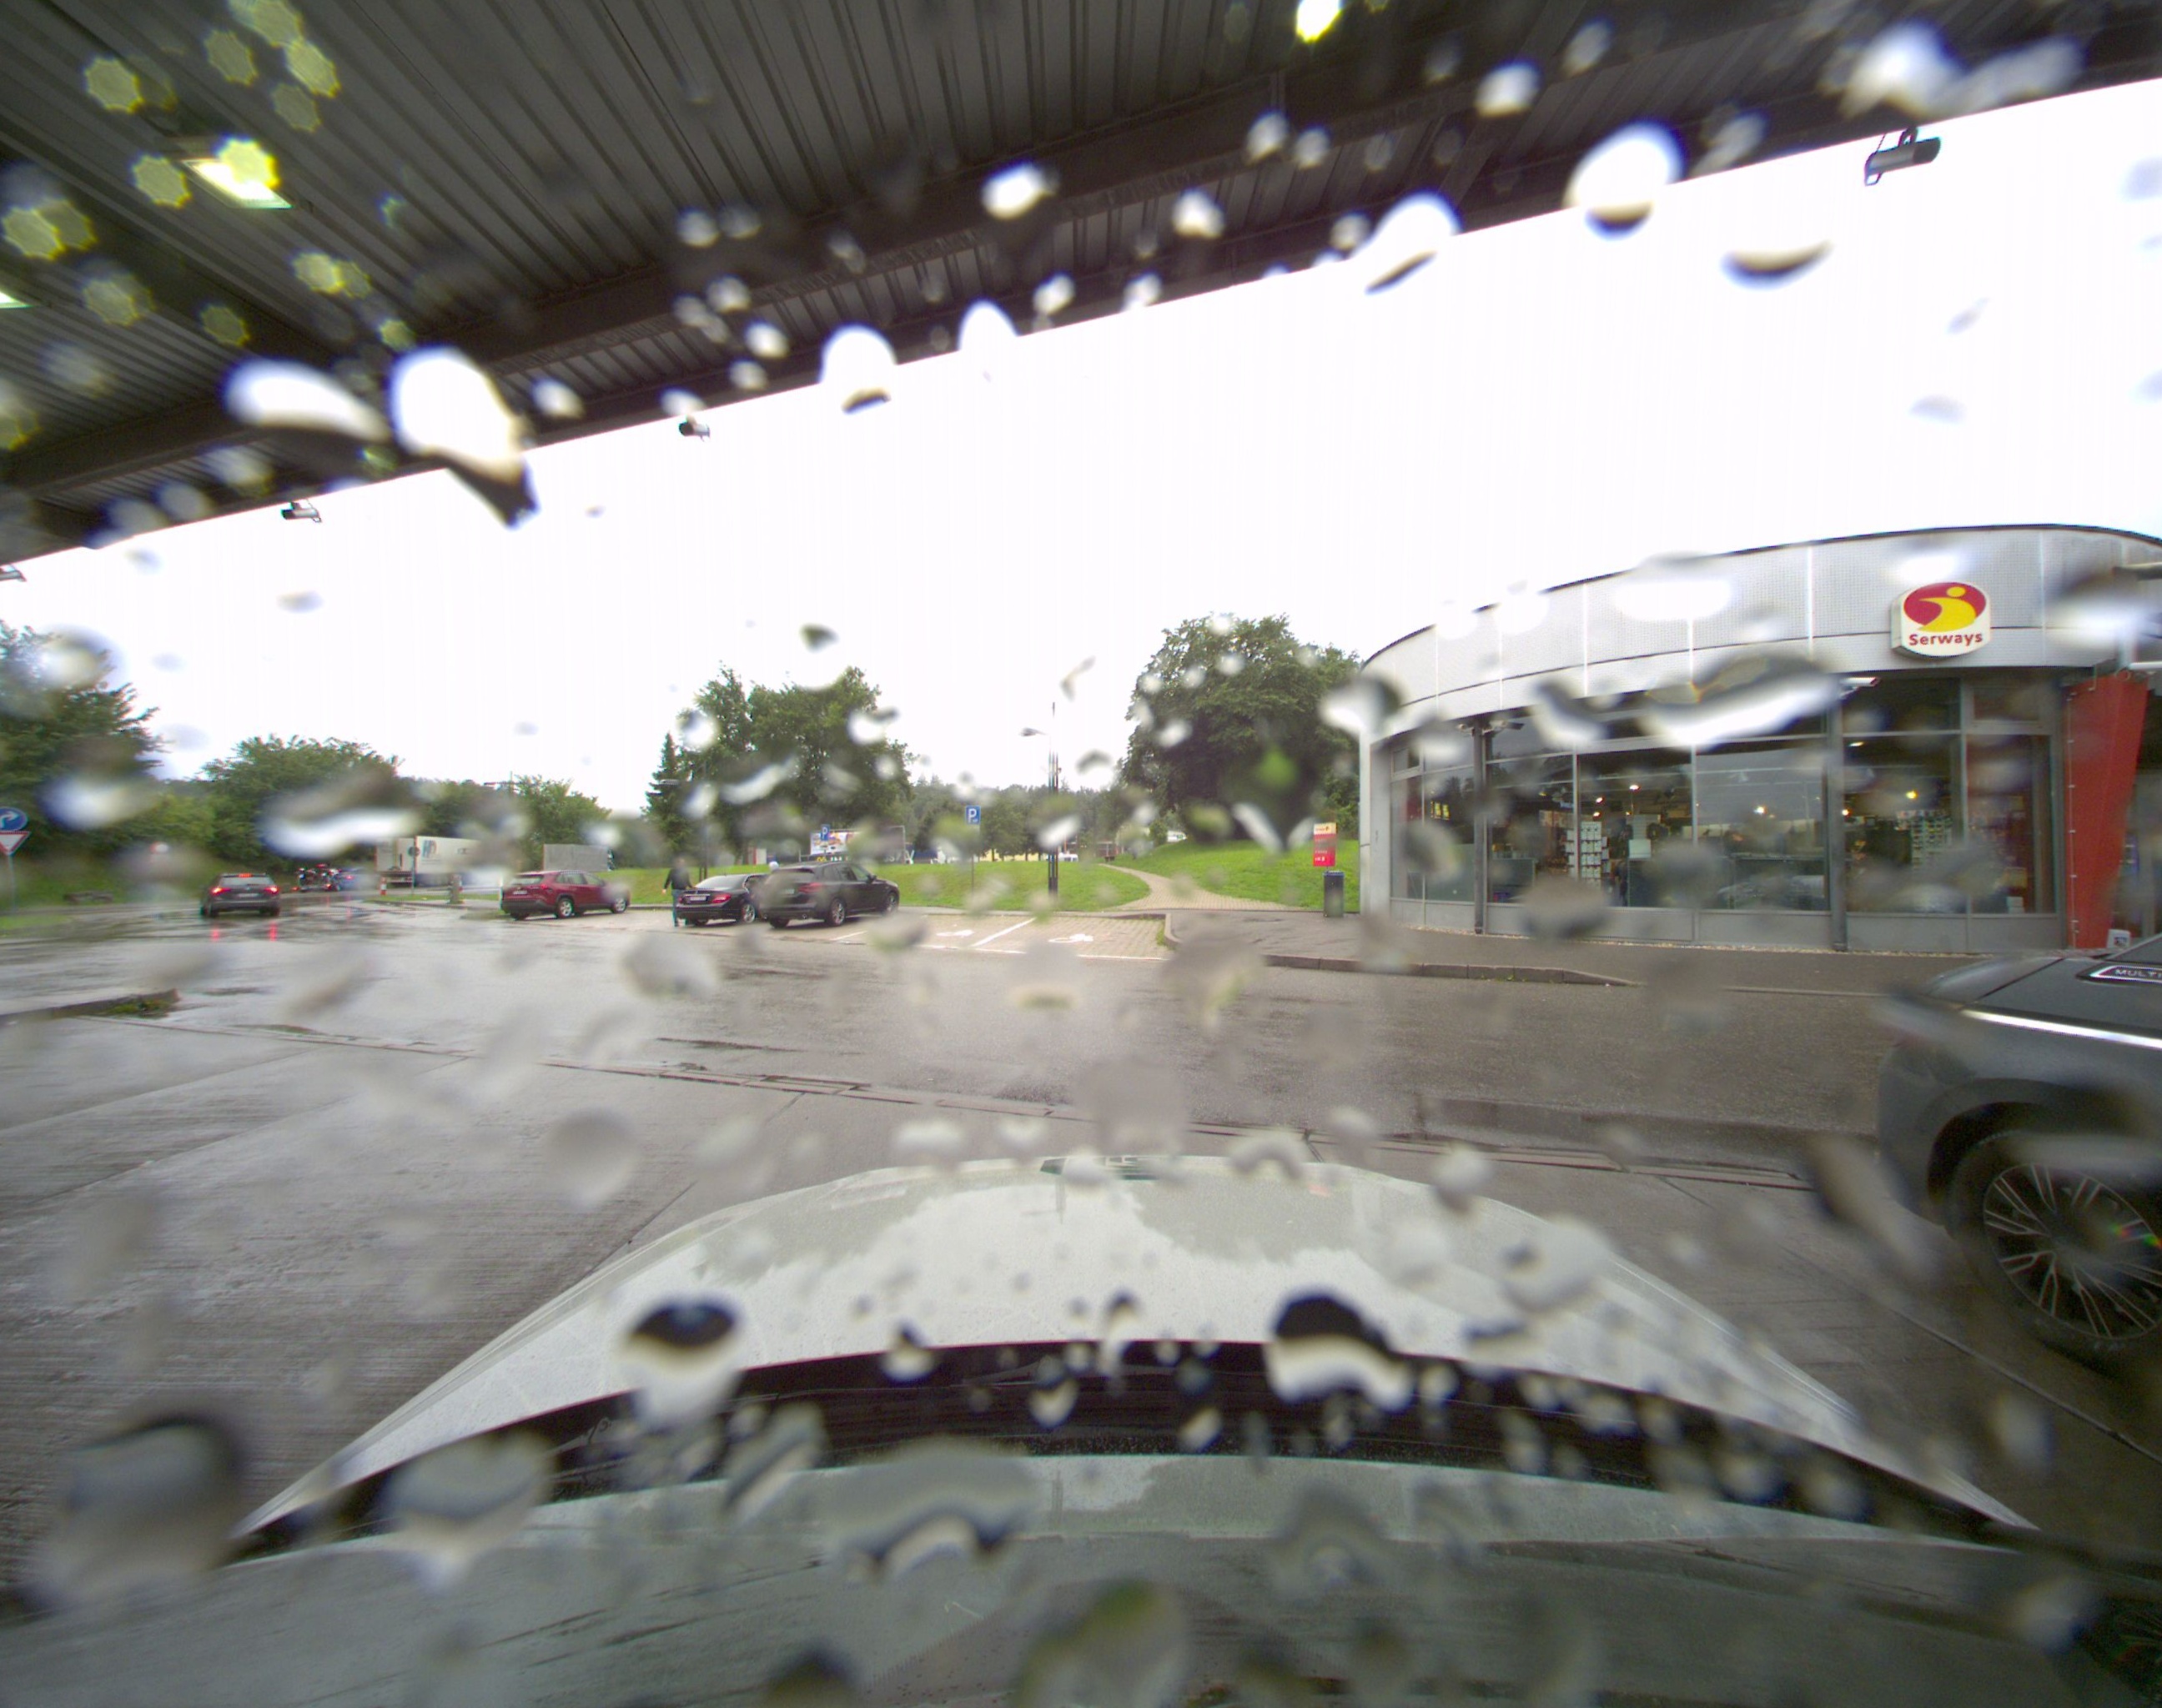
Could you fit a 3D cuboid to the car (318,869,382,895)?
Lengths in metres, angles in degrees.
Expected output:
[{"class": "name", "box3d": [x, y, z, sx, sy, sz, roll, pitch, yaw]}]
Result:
[{"class": "car", "box3d": [-50.342, 1.870, 56.180, 1.814, 1.681, 3.927, 0, -1, -18]}]

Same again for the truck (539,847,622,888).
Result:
[{"class": "truck", "box3d": [-40.317, 1.043, 65.919, 2.472, 3.085, 7.347, 0, -1, -3]}]

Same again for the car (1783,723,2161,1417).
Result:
[{"class": "car", "box3d": [3.675, 0.542, 0.684, 1.854, 1.798, 5.142, 0, -1, 2]}]

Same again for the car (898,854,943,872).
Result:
[{"class": "car", "box3d": [-16.558, 0.909, 83.877, 4.153, 1.783, 1.825, 0, -1, -34]}]

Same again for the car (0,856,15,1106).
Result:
[{"class": "car", "box3d": [-7.967, 0.800, 2.683, 1.854, 1.608, 5.273, 0, -1, 2]}]

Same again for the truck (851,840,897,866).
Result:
[{"class": "truck", "box3d": [-24.183, -0.093, 95.462, 2.165, 2.920, 5.419, -1, -1, 27]}]

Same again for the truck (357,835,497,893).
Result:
[{"class": "truck", "box3d": [-55.443, 0.830, 69.984, 3.550, 4.340, 16.899, 0, -1, -18]}]

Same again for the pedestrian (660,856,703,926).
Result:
[{"class": "pedestrian", "box3d": [-11.014, 1.005, 22.445, 0.882, 1.887, 0.708, -1, -1, 35]}]

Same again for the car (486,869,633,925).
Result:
[{"class": "car", "box3d": [-18.136, 1.437, 28.599, 1.928, 1.644, 4.352, -2, 0, 7]}]

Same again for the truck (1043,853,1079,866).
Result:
[{"class": "truck", "box3d": [-3.246, 0.873, 134.112, 5.356, 2.014, 2.381, -1, -1, 26]}]

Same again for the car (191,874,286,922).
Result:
[{"class": "car", "box3d": [-32.370, 1.661, 31.267, 3.948, 1.678, 2.013, -2, -1, 37]}]

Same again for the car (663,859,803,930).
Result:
[{"class": "car", "box3d": [-9.834, 1.079, 23.431, 2.010, 1.711, 4.344, -2, 0, 1]}]

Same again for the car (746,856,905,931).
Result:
[{"class": "car", "box3d": [-6.648, 0.969, 21.787, 2.002, 1.711, 4.360, -2, 0, 14]}]

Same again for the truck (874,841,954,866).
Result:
[{"class": "truck", "box3d": [-20.751, -0.061, 102.353, 2.165, 2.920, 13.175, -1, -1, 26]}]

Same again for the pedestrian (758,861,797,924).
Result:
[{"class": "pedestrian", "box3d": [-8.055, 1.004, 21.627, 0.955, 1.631, 0.698, 0, -1, -23]}]
